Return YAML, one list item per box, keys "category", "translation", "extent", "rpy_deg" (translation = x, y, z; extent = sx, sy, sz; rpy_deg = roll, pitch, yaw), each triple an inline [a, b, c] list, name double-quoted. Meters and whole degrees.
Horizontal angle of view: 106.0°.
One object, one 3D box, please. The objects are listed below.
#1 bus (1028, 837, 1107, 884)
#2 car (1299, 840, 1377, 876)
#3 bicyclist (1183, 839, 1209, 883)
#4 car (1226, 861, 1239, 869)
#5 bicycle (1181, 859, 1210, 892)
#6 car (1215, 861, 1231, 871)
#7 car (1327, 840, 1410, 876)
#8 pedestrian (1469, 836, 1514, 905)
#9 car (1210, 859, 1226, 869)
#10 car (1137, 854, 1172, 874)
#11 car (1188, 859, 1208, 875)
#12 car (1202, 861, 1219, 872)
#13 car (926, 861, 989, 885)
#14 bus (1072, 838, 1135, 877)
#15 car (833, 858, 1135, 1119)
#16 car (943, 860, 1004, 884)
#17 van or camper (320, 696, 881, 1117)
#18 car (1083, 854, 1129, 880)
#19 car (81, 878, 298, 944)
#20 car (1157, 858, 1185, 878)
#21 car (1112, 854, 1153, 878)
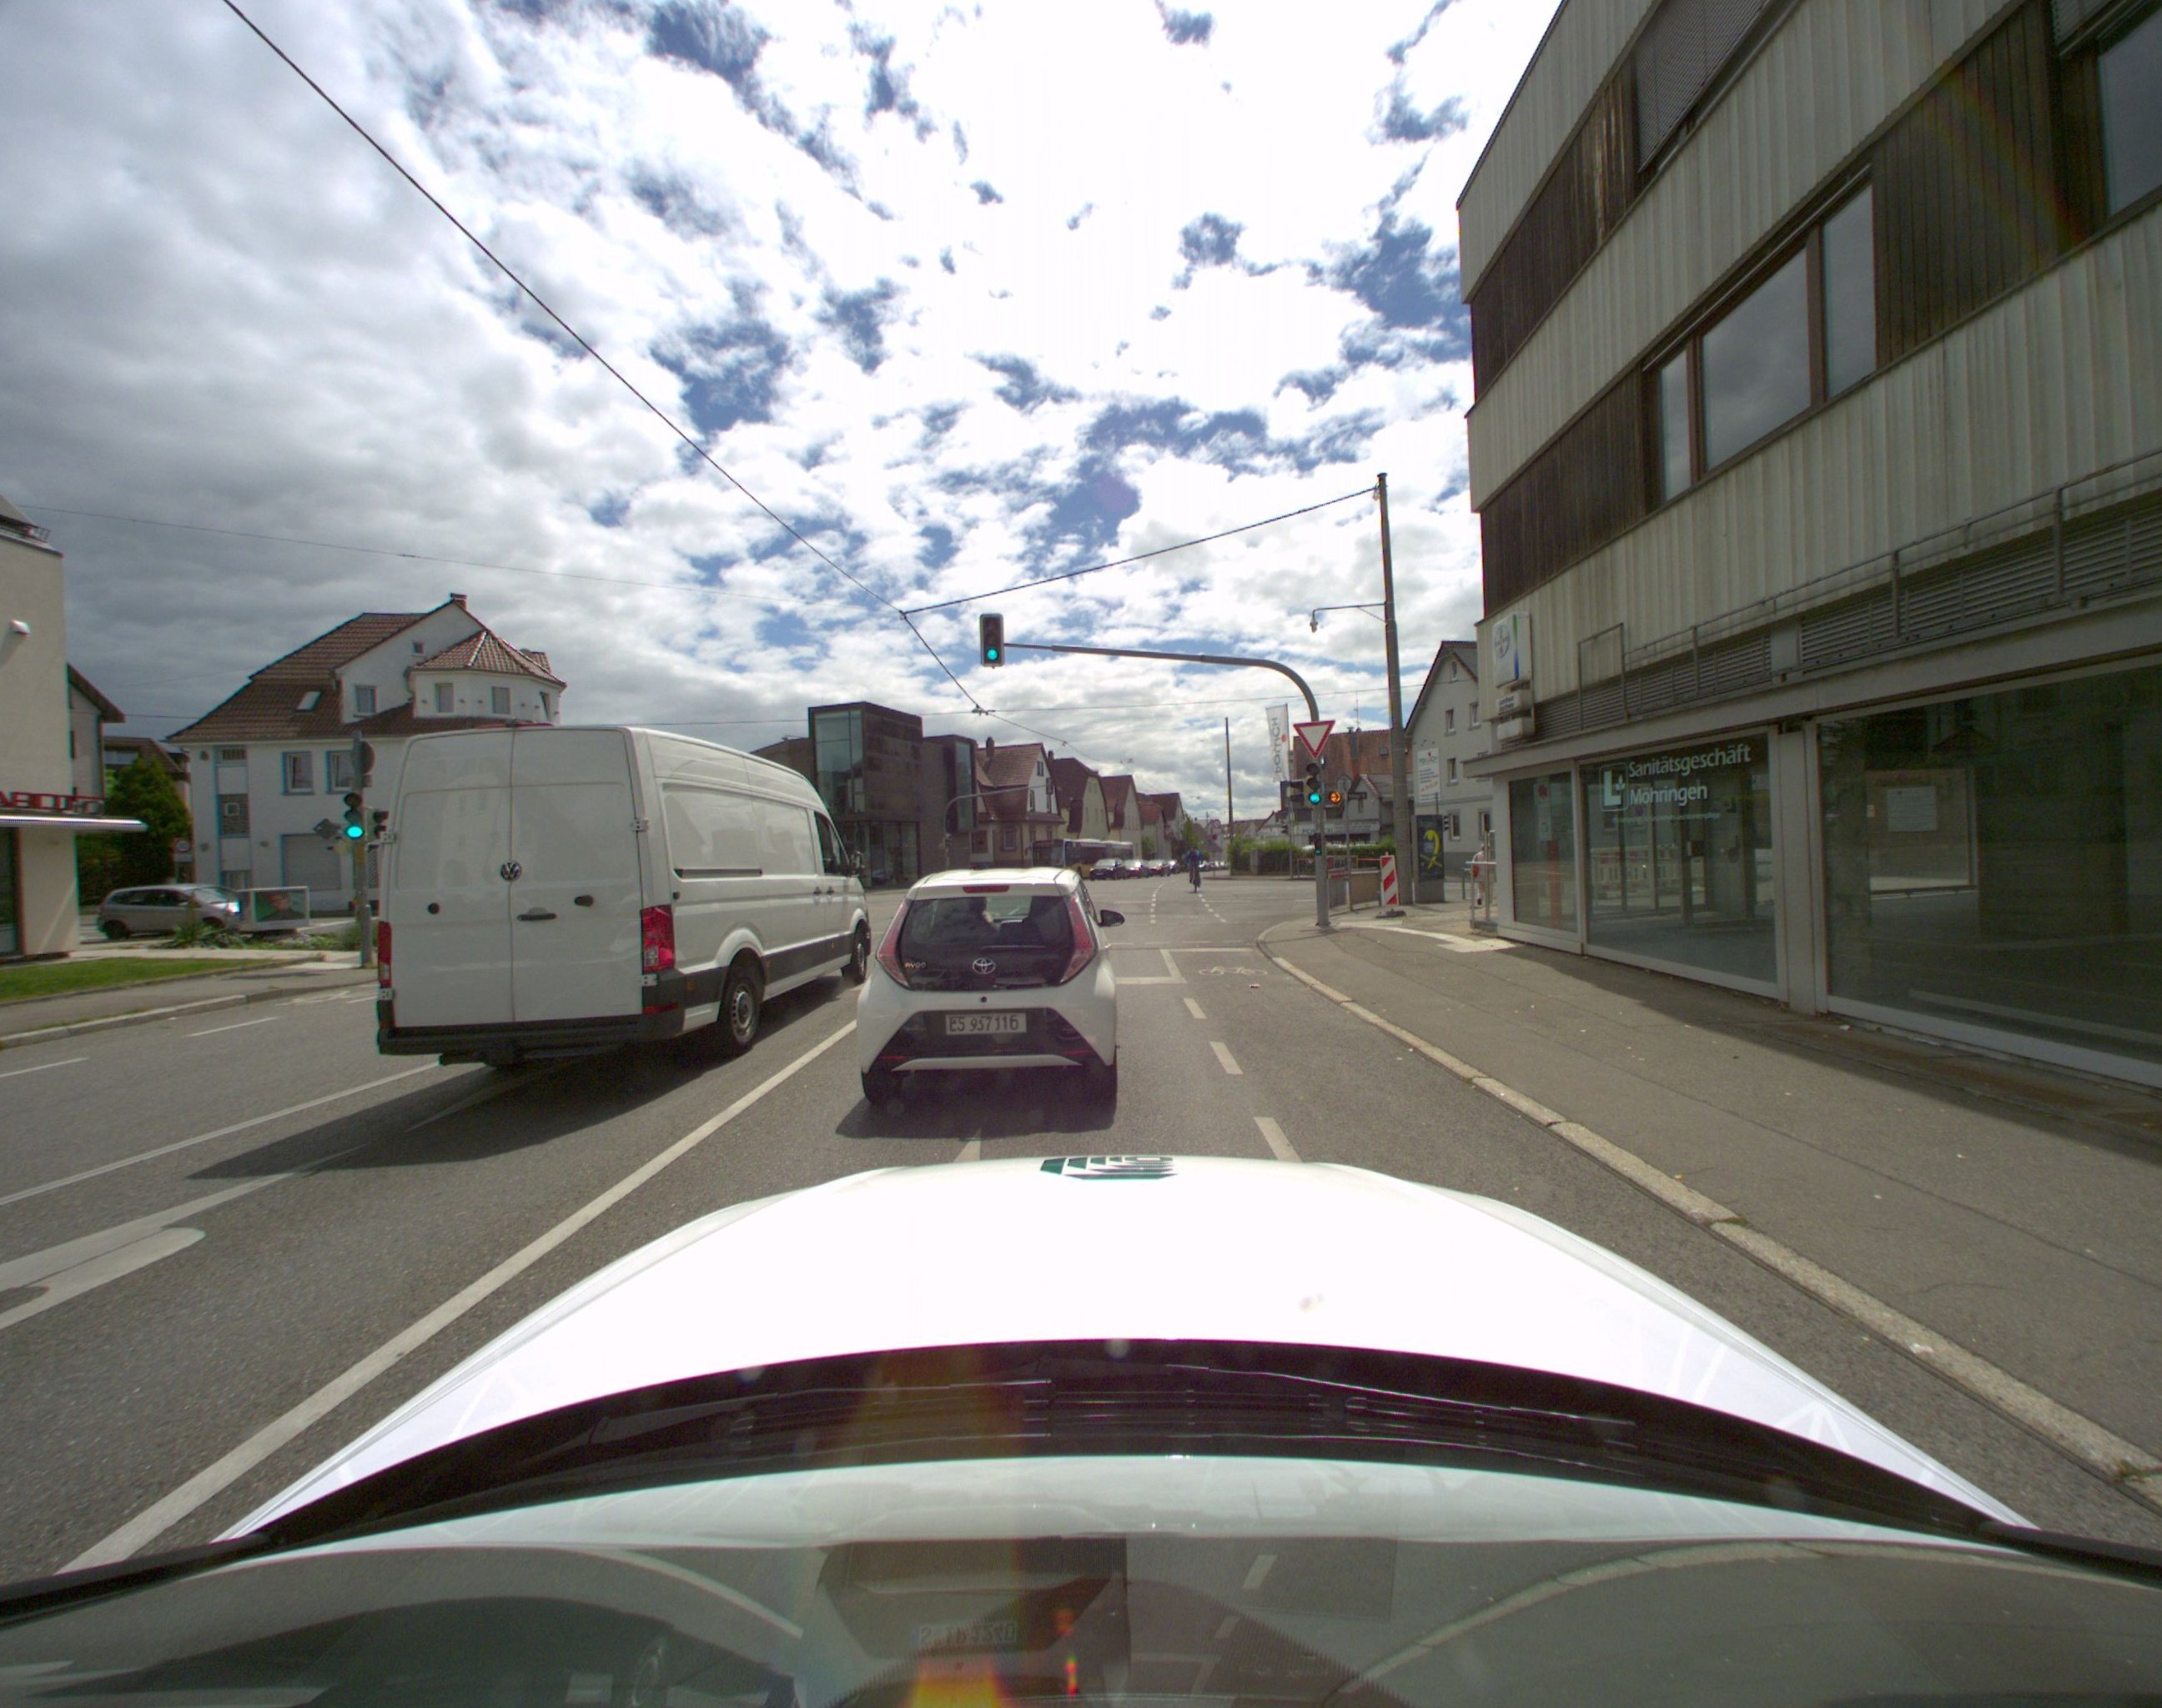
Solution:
- category: "bus"
  translation: [-0.782, 0.395, 58.163]
  extent: [2.756, 3.060, 9.233]
  rpy_deg: [-1, 0, 17]
- category: "car"
  translation: [15.469, 0.233, 49.166]
  extent: [3.983, 2.013, 1.995]
  rpy_deg: [-1, 0, -7]
- category: "bicyclist"
  translation: [4.316, 0.257, 30.731]
  extent: [0.837, 1.614, 1.083]
  rpy_deg: [1, 0, 1]
- category: "car"
  translation: [30.190, 2.182, 161.868]
  extent: [1.977, 1.640, 4.020]
  rpy_deg: [-1, 0, 19]
- category: "bicycle"
  translation: [4.304, 0.779, 30.739]
  extent: [0.829, 1.164, 2.193]
  rpy_deg: [-2, 0, 2]
- category: "car"
  translation: [24.578, 2.039, 140.860]
  extent: [1.977, 1.640, 4.020]
  rpy_deg: [-1, 0, 19]
- category: "car"
  translation: [16.485, 0.228, 46.794]
  extent: [3.984, 1.948, 1.995]
  rpy_deg: [-1, -1, -8]
- category: "pedestrian"
  translation: [9.959, 0.397, 19.794]
  extent: [0.827, 1.637, 0.878]
  rpy_deg: [-2, 0, 18]
- category: "car"
  translation: [22.752, 1.636, 135.362]
  extent: [1.977, 1.640, 4.020]
  rpy_deg: [-1, 0, 19]
- category: "car"
  translation: [6.219, 0.822, 68.773]
  extent: [1.977, 1.640, 4.020]
  rpy_deg: [-1, 0, 19]
- category: "car"
  translation: [15.379, 1.718, 106.912]
  extent: [1.979, 2.013, 4.016]
  rpy_deg: [-1, 0, 15]
- category: "car"
  translation: [20.573, 1.970, 129.690]
  extent: [1.977, 1.640, 4.020]
  rpy_deg: [-1, 0, 19]
- category: "car"
  translation: [-8.730, 1.360, 57.722]
  extent: [3.957, 1.640, 2.008]
  rpy_deg: [0, 0, 15]
- category: "bus"
  translation: [2.018, 0.248, 67.071]
  extent: [2.756, 2.914, 9.233]
  rpy_deg: [-1, 0, 17]
- category: "car"
  translation: [-0.574, 0.795, 6.561]
  extent: [1.733, 1.460, 3.531]
  rpy_deg: [-2, 0, 0]
- category: "car"
  translation: [-7.940, 1.330, 60.517]
  extent: [3.957, 1.684, 2.008]
  rpy_deg: [-2, 0, 15]
- category: "van or camper"
  translation: [-3.766, 0.326, 8.039]
  extent: [2.101, 2.586, 5.643]
  rpy_deg: [-3, 0, -1]
- category: "car"
  translation: [1.773, 0.874, 55.384]
  extent: [1.977, 1.640, 4.020]
  rpy_deg: [-1, 0, 19]
- category: "car"
  translation: [-26.393, 1.645, 24.251]
  extent: [3.981, 1.684, 1.996]
  rpy_deg: [-2, 0, -6]
- category: "car"
  translation: [10.020, 1.534, 90.336]
  extent: [1.976, 2.013, 4.021]
  rpy_deg: [-1, 0, 22]
- category: "car"
  translation: [3.855, 0.888, 60.591]
  extent: [1.977, 1.640, 4.204]
  rpy_deg: [-1, 0, 19]
